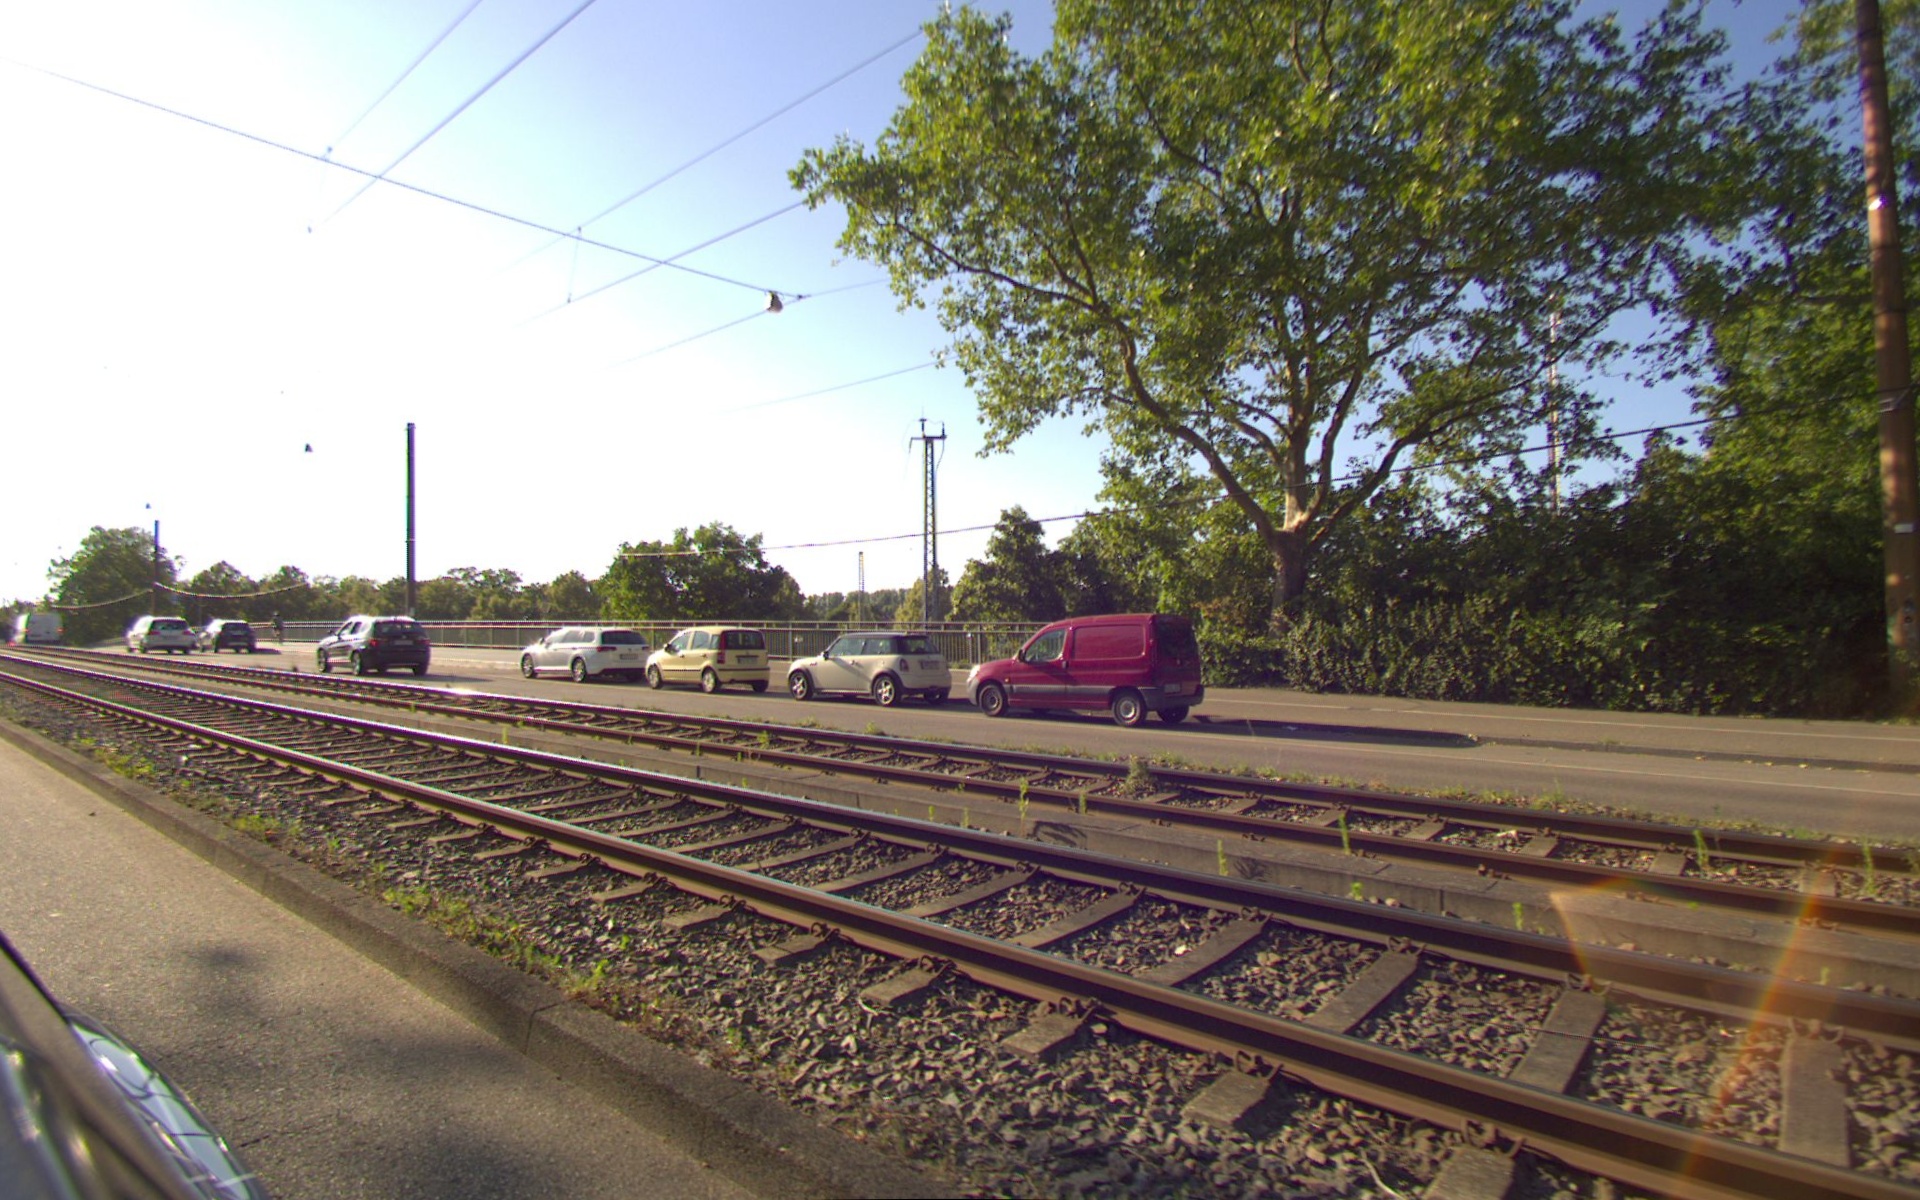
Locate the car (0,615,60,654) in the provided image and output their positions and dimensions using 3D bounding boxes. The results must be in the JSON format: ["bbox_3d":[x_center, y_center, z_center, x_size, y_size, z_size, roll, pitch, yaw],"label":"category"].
[{"bbox_3d":[-65.632,2.472,71.401,6.032,2.613,2.066,-2,-4,38],"label":"car"}]

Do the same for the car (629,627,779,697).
[{"bbox_3d":[-6.146,1.427,24.109,3.788,1.543,1.616,-2,-2,41],"label":"car"}]

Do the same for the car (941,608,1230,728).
[{"bbox_3d":[1.990,1.073,17.087,4.681,1.767,1.724,-2,-2,41],"label":"car"}]

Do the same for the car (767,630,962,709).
[{"bbox_3d":[-2.016,1.359,20.668,3.997,1.462,1.617,-2,-2,39],"label":"car"}]

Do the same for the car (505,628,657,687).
[{"bbox_3d":[-10.518,1.552,27.898,4.952,1.475,1.724,-2,-2,40],"label":"car"}]

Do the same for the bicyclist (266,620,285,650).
[{"bbox_3d":[-37.834,1.936,55.944,0.889,1.639,0.672,-2,0,41],"label":"bicyclist"}]

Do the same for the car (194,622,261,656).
[{"bbox_3d":[-37.601,2.023,51.905,4.444,1.663,1.761,-3,-5,41],"label":"car"}]

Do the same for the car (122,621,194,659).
[{"bbox_3d":[-38.256,1.904,48.247,4.595,1.678,1.853,-2,-5,42],"label":"car"}]

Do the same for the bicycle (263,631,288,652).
[{"bbox_3d":[-37.896,2.277,56.012,2.099,1.106,0.672,-2,0,42],"label":"bicycle"}]

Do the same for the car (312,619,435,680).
[{"bbox_3d":[-17.040,1.420,29.330,4.391,1.636,1.724,-2,-3,40],"label":"car"}]
